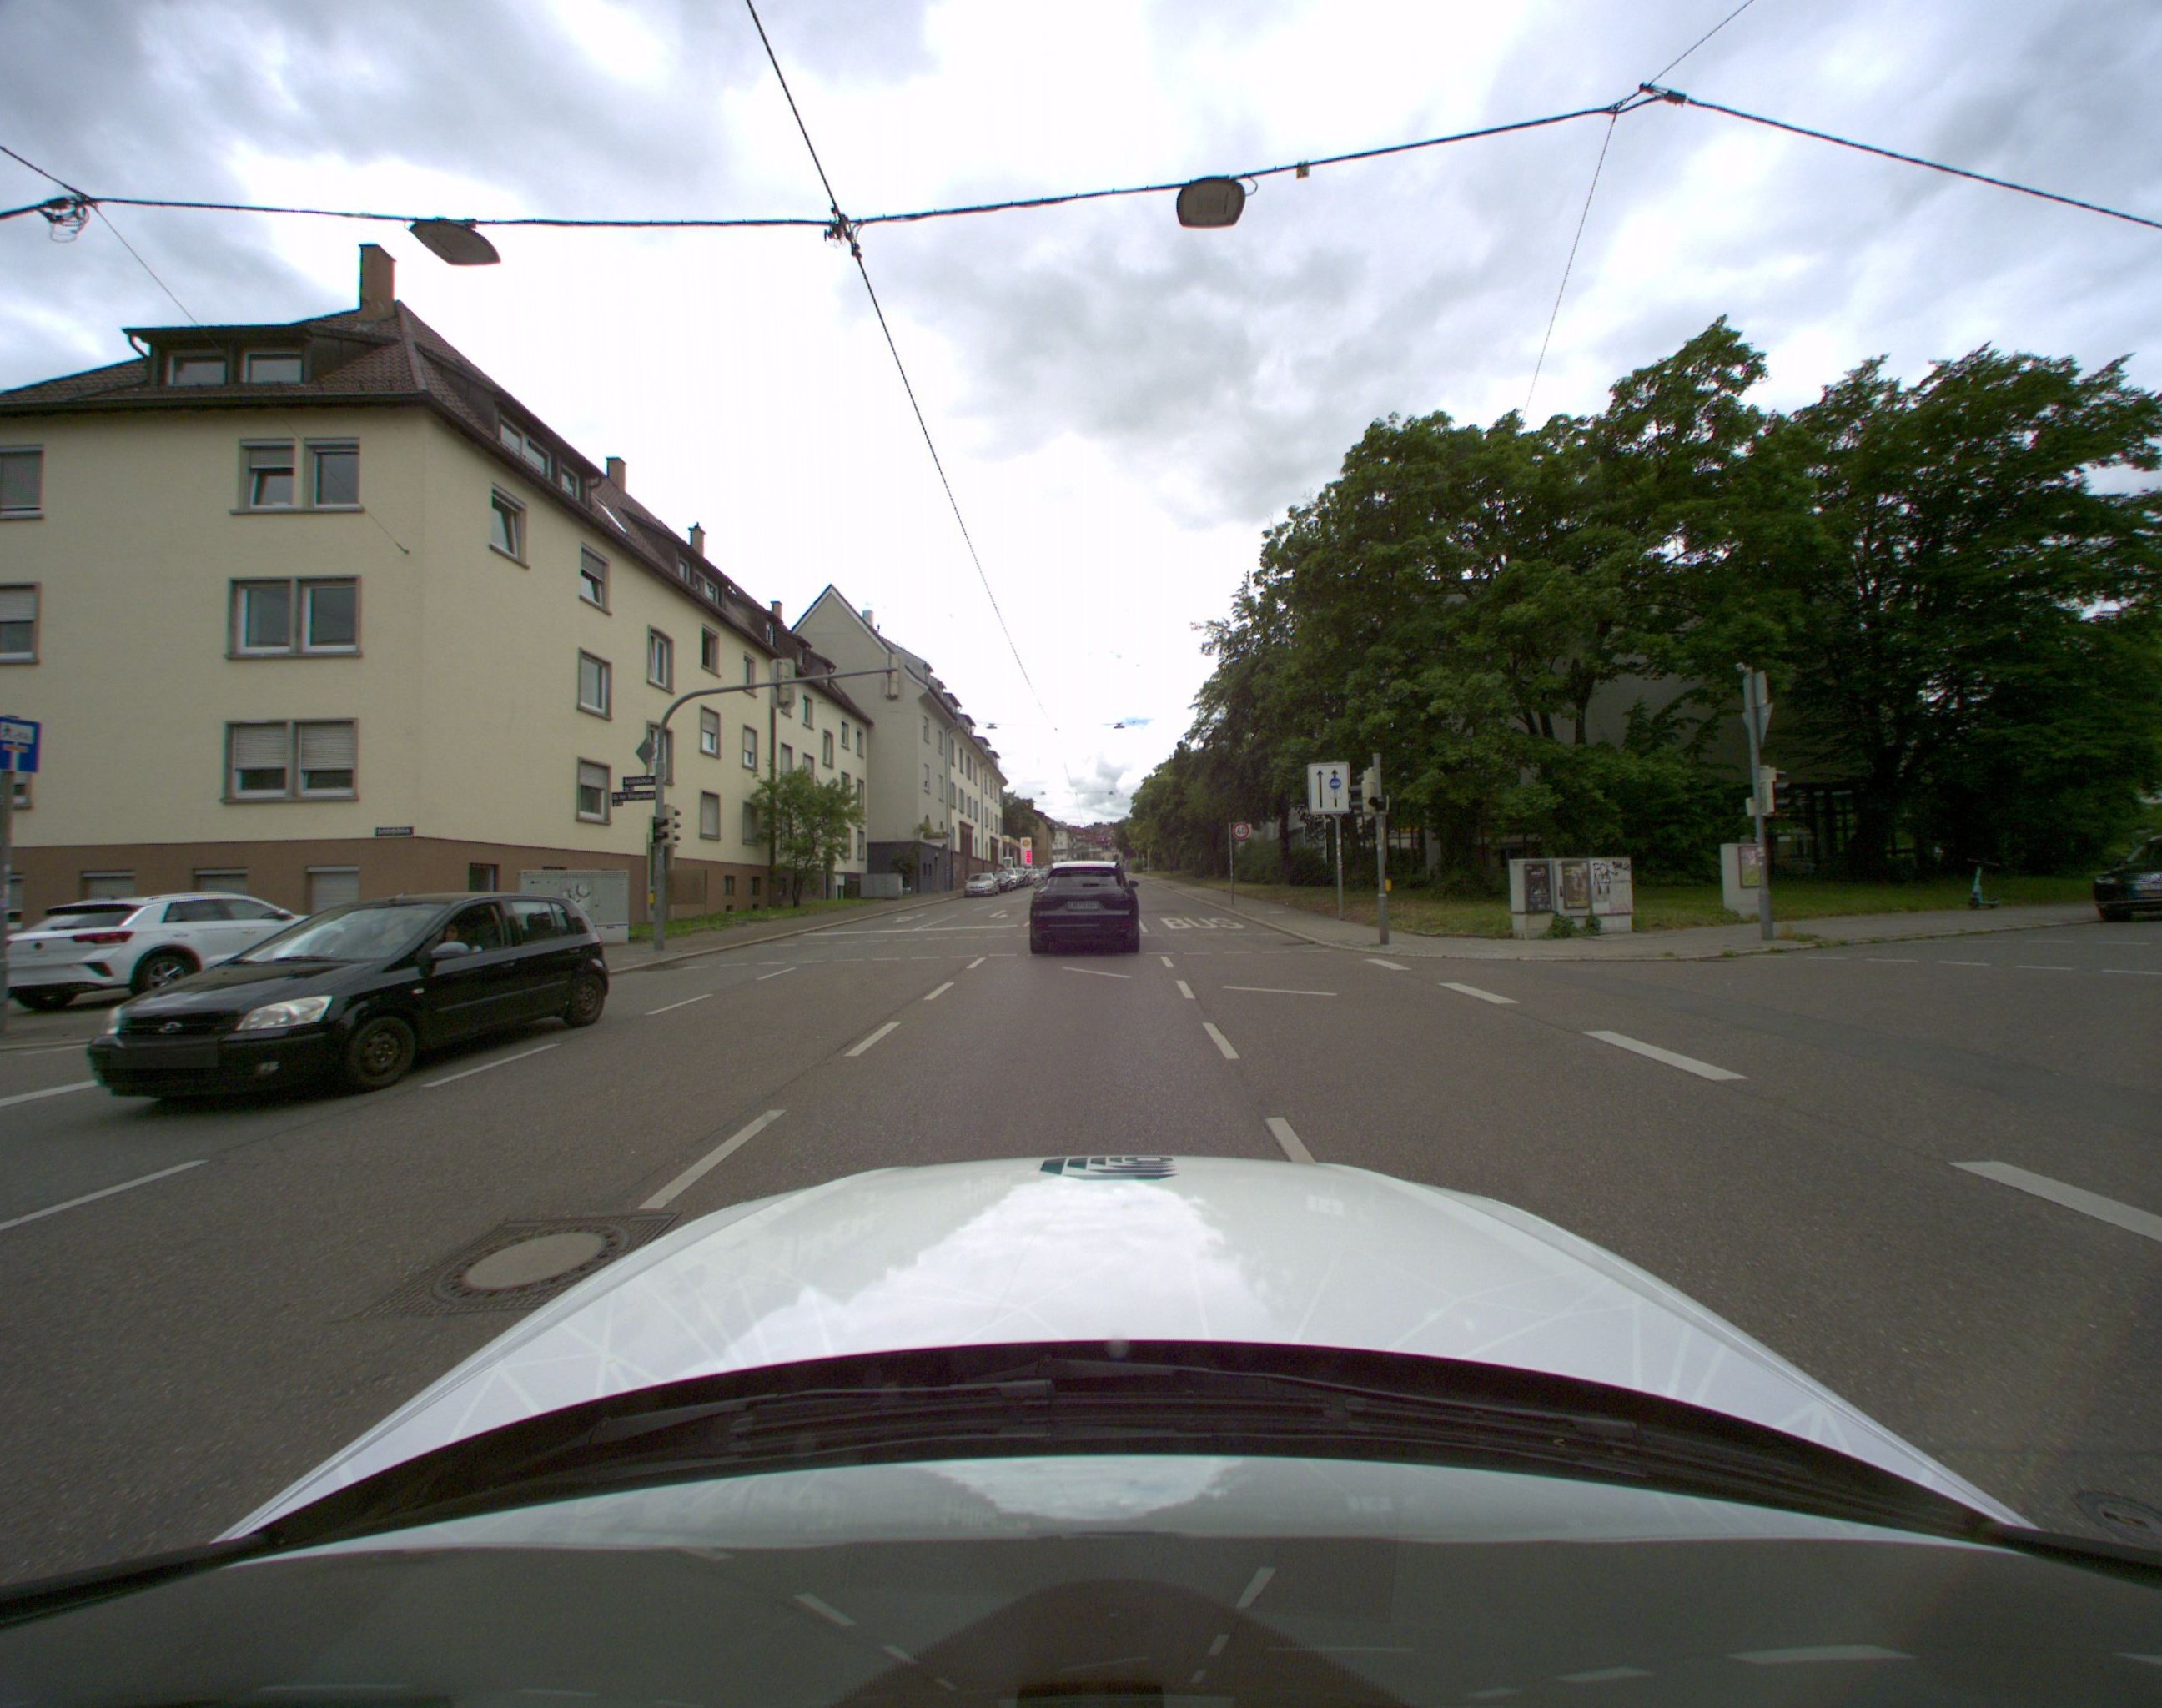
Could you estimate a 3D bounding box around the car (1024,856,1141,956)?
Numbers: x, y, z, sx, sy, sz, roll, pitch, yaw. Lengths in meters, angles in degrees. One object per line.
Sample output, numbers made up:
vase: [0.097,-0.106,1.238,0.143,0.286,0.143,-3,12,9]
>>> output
car: [0.091,0.891,15.911,1.986,1.697,4.002,0,0,2]

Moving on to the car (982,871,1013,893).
car: [-5.710,1.889,56.194,1.664,1.362,3.999,-1,0,0]

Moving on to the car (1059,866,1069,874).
car: [-3.188,2.993,153.220,1.664,1.362,3.999,-1,0,0]

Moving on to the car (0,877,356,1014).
car: [-14.254,1.308,13.073,1.666,1.662,3.996,-4,0,-3]

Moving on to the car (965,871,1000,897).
car: [-5.860,1.772,48.732,1.665,1.362,3.998,-1,0,-1]

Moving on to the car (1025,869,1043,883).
car: [-4.982,2.329,87.442,1.664,1.362,3.999,-1,0,0]

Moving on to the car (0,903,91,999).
car: [-19.216,1.740,12.990,1.664,1.546,4.103,-4,0,2]

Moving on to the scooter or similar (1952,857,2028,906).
scooter or similar: [22.608,0.670,20.246,1.765,1.177,0.528,0,0,-15]

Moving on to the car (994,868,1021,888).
car: [-5.590,1.807,62.230,1.664,1.362,3.999,-1,0,0]

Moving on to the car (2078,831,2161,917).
car: [22.197,0.372,16.130,4.091,1.604,1.933,0,-4,-23]

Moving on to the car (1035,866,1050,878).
car: [-4.909,2.313,104.882,1.664,1.362,3.999,-1,0,0]

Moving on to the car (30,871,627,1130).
car: [-6.061,1.016,7.291,1.657,1.519,3.742,-5,0,2]
